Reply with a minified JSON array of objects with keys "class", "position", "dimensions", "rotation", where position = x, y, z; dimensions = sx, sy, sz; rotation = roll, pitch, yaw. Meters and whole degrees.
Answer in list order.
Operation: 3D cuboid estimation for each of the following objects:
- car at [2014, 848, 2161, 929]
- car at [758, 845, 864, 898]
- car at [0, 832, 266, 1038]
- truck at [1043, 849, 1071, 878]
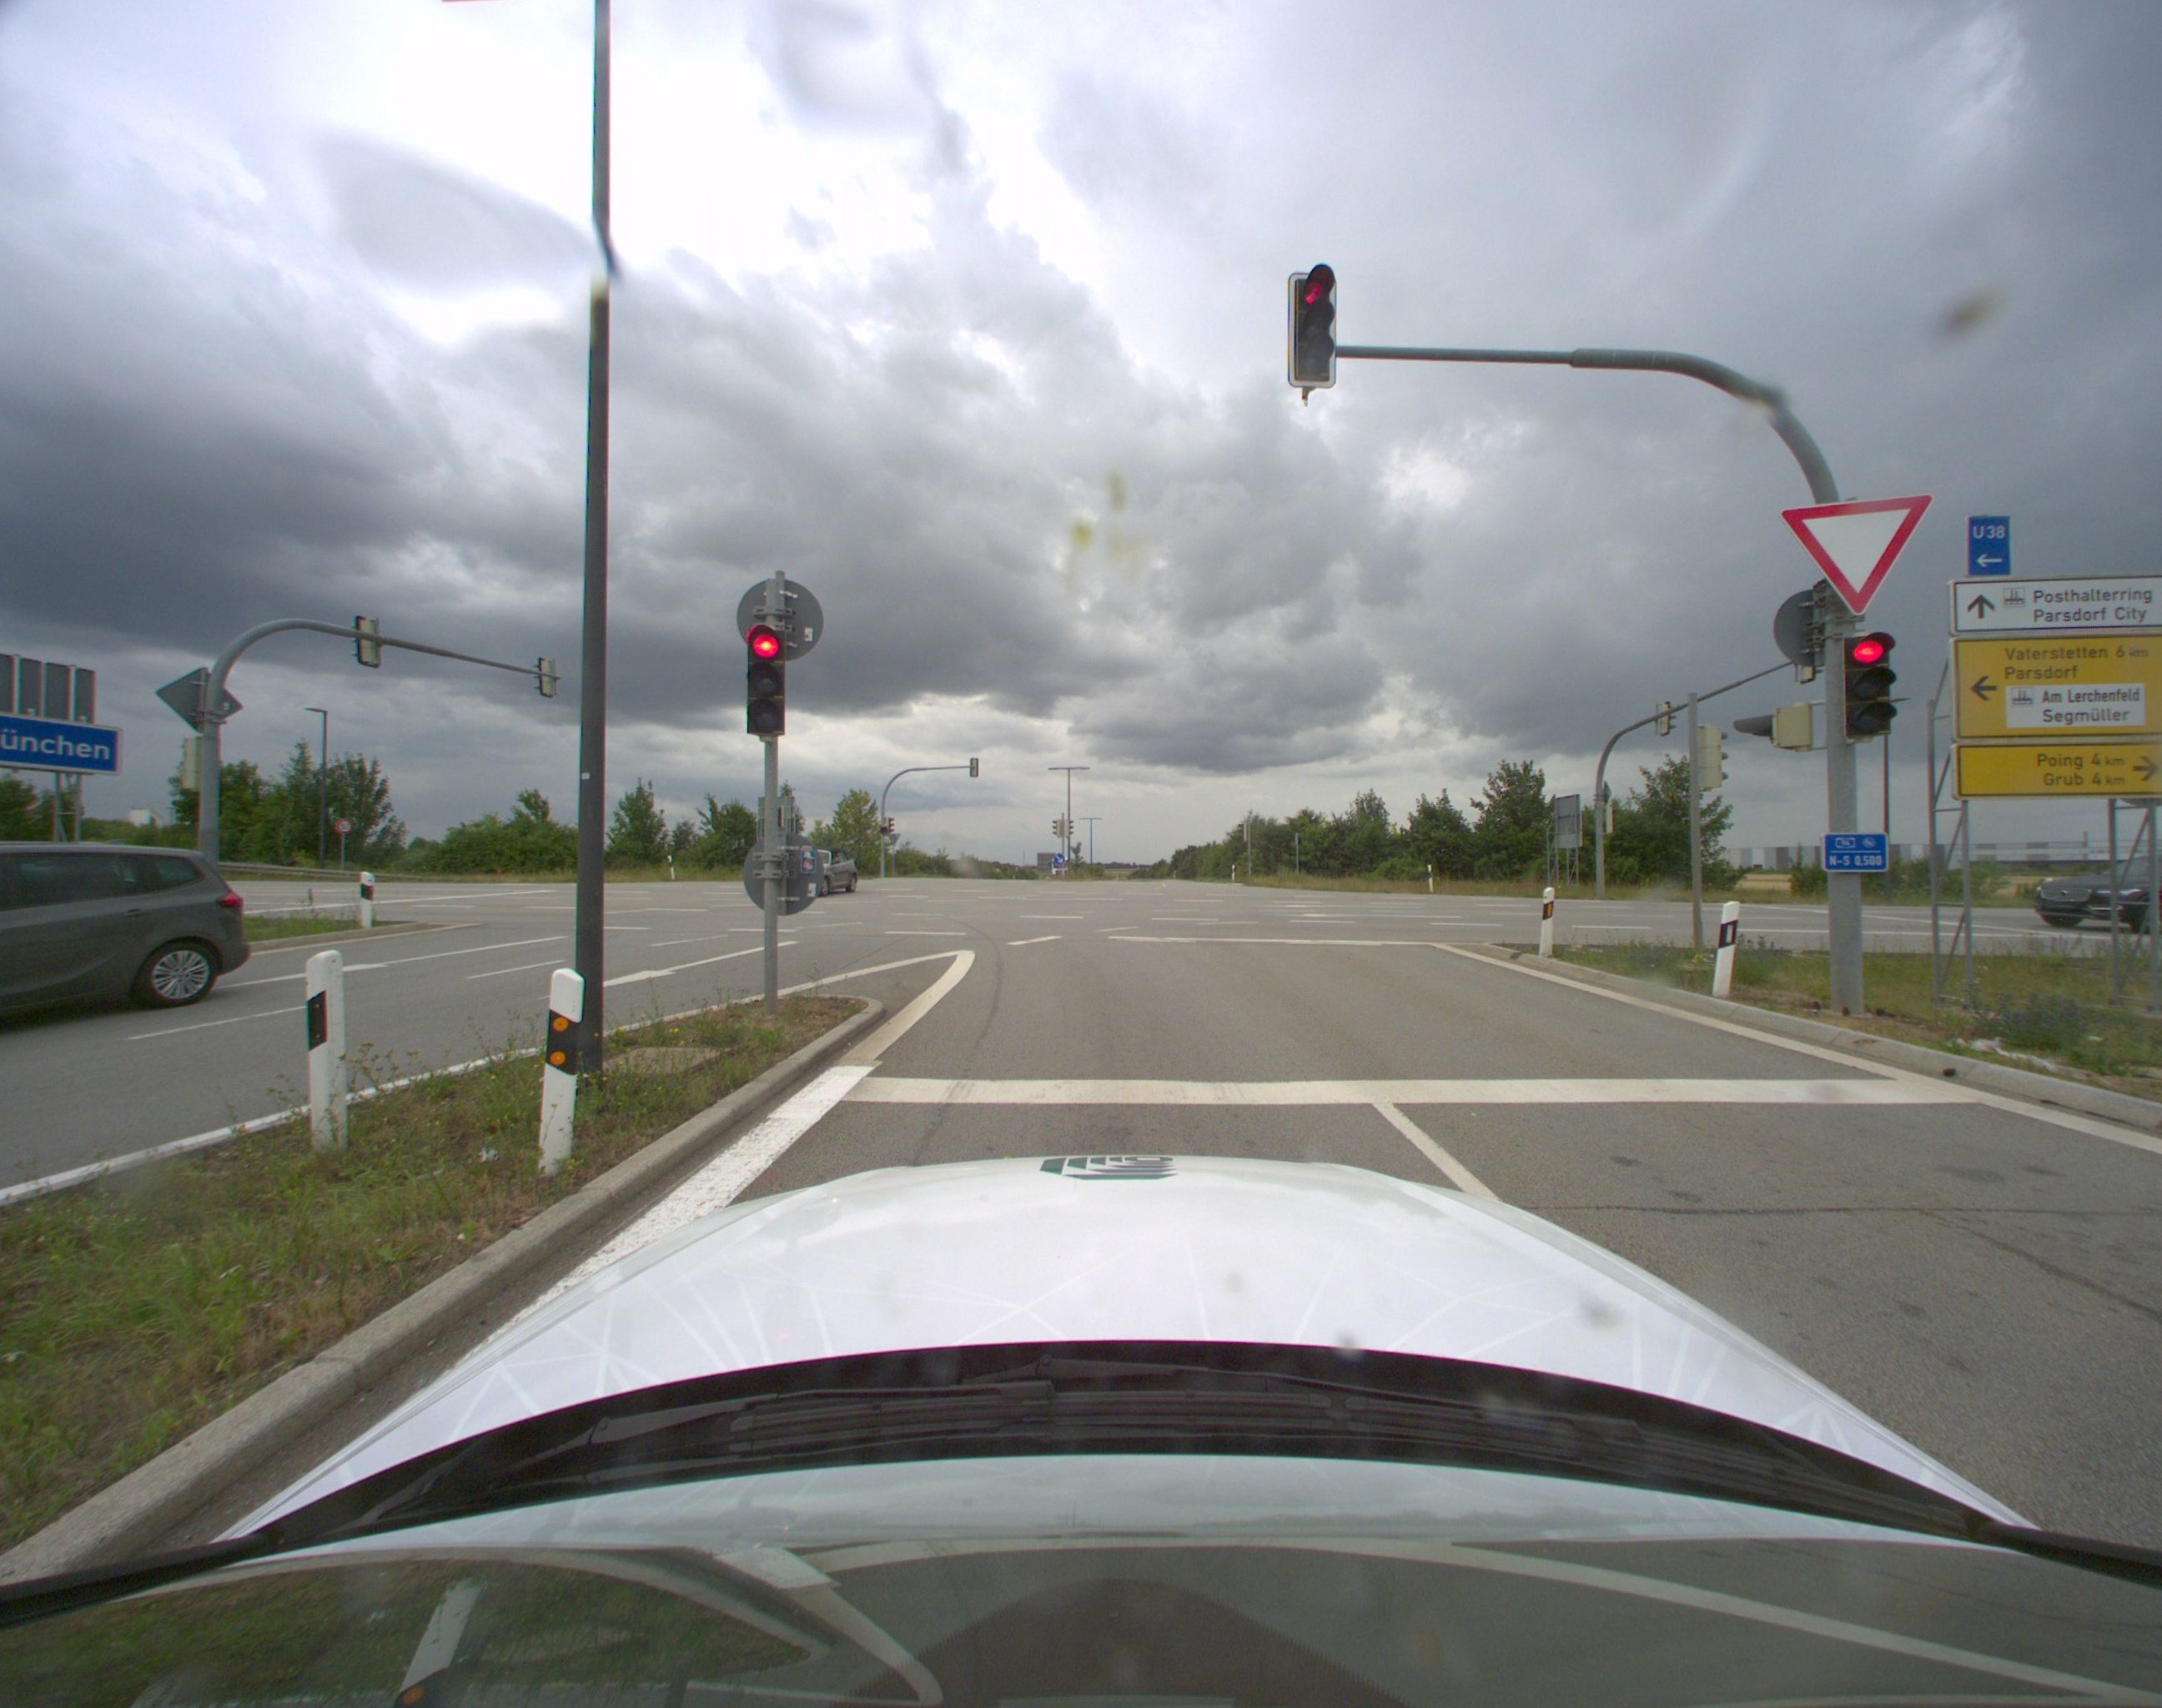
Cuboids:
[{"class":"car","position":[24.093,0.737,17.653],"dimensions":[4.951,1.684,2.006],"rotation":[0,0,10]},{"class":"car","position":[-8.413,0.477,25.790],"dimensions":[1.803,1.520,4.244],"rotation":[0,1,2]},{"class":"car","position":[-9.884,0.669,6.594],"dimensions":[1.986,1.694,4.457],"rotation":[0,-1,2]},{"class":"truck","position":[-2.993,1.277,103.153],"dimensions":[2.858,3.408,8.654],"rotation":[0,-2,2]}]
